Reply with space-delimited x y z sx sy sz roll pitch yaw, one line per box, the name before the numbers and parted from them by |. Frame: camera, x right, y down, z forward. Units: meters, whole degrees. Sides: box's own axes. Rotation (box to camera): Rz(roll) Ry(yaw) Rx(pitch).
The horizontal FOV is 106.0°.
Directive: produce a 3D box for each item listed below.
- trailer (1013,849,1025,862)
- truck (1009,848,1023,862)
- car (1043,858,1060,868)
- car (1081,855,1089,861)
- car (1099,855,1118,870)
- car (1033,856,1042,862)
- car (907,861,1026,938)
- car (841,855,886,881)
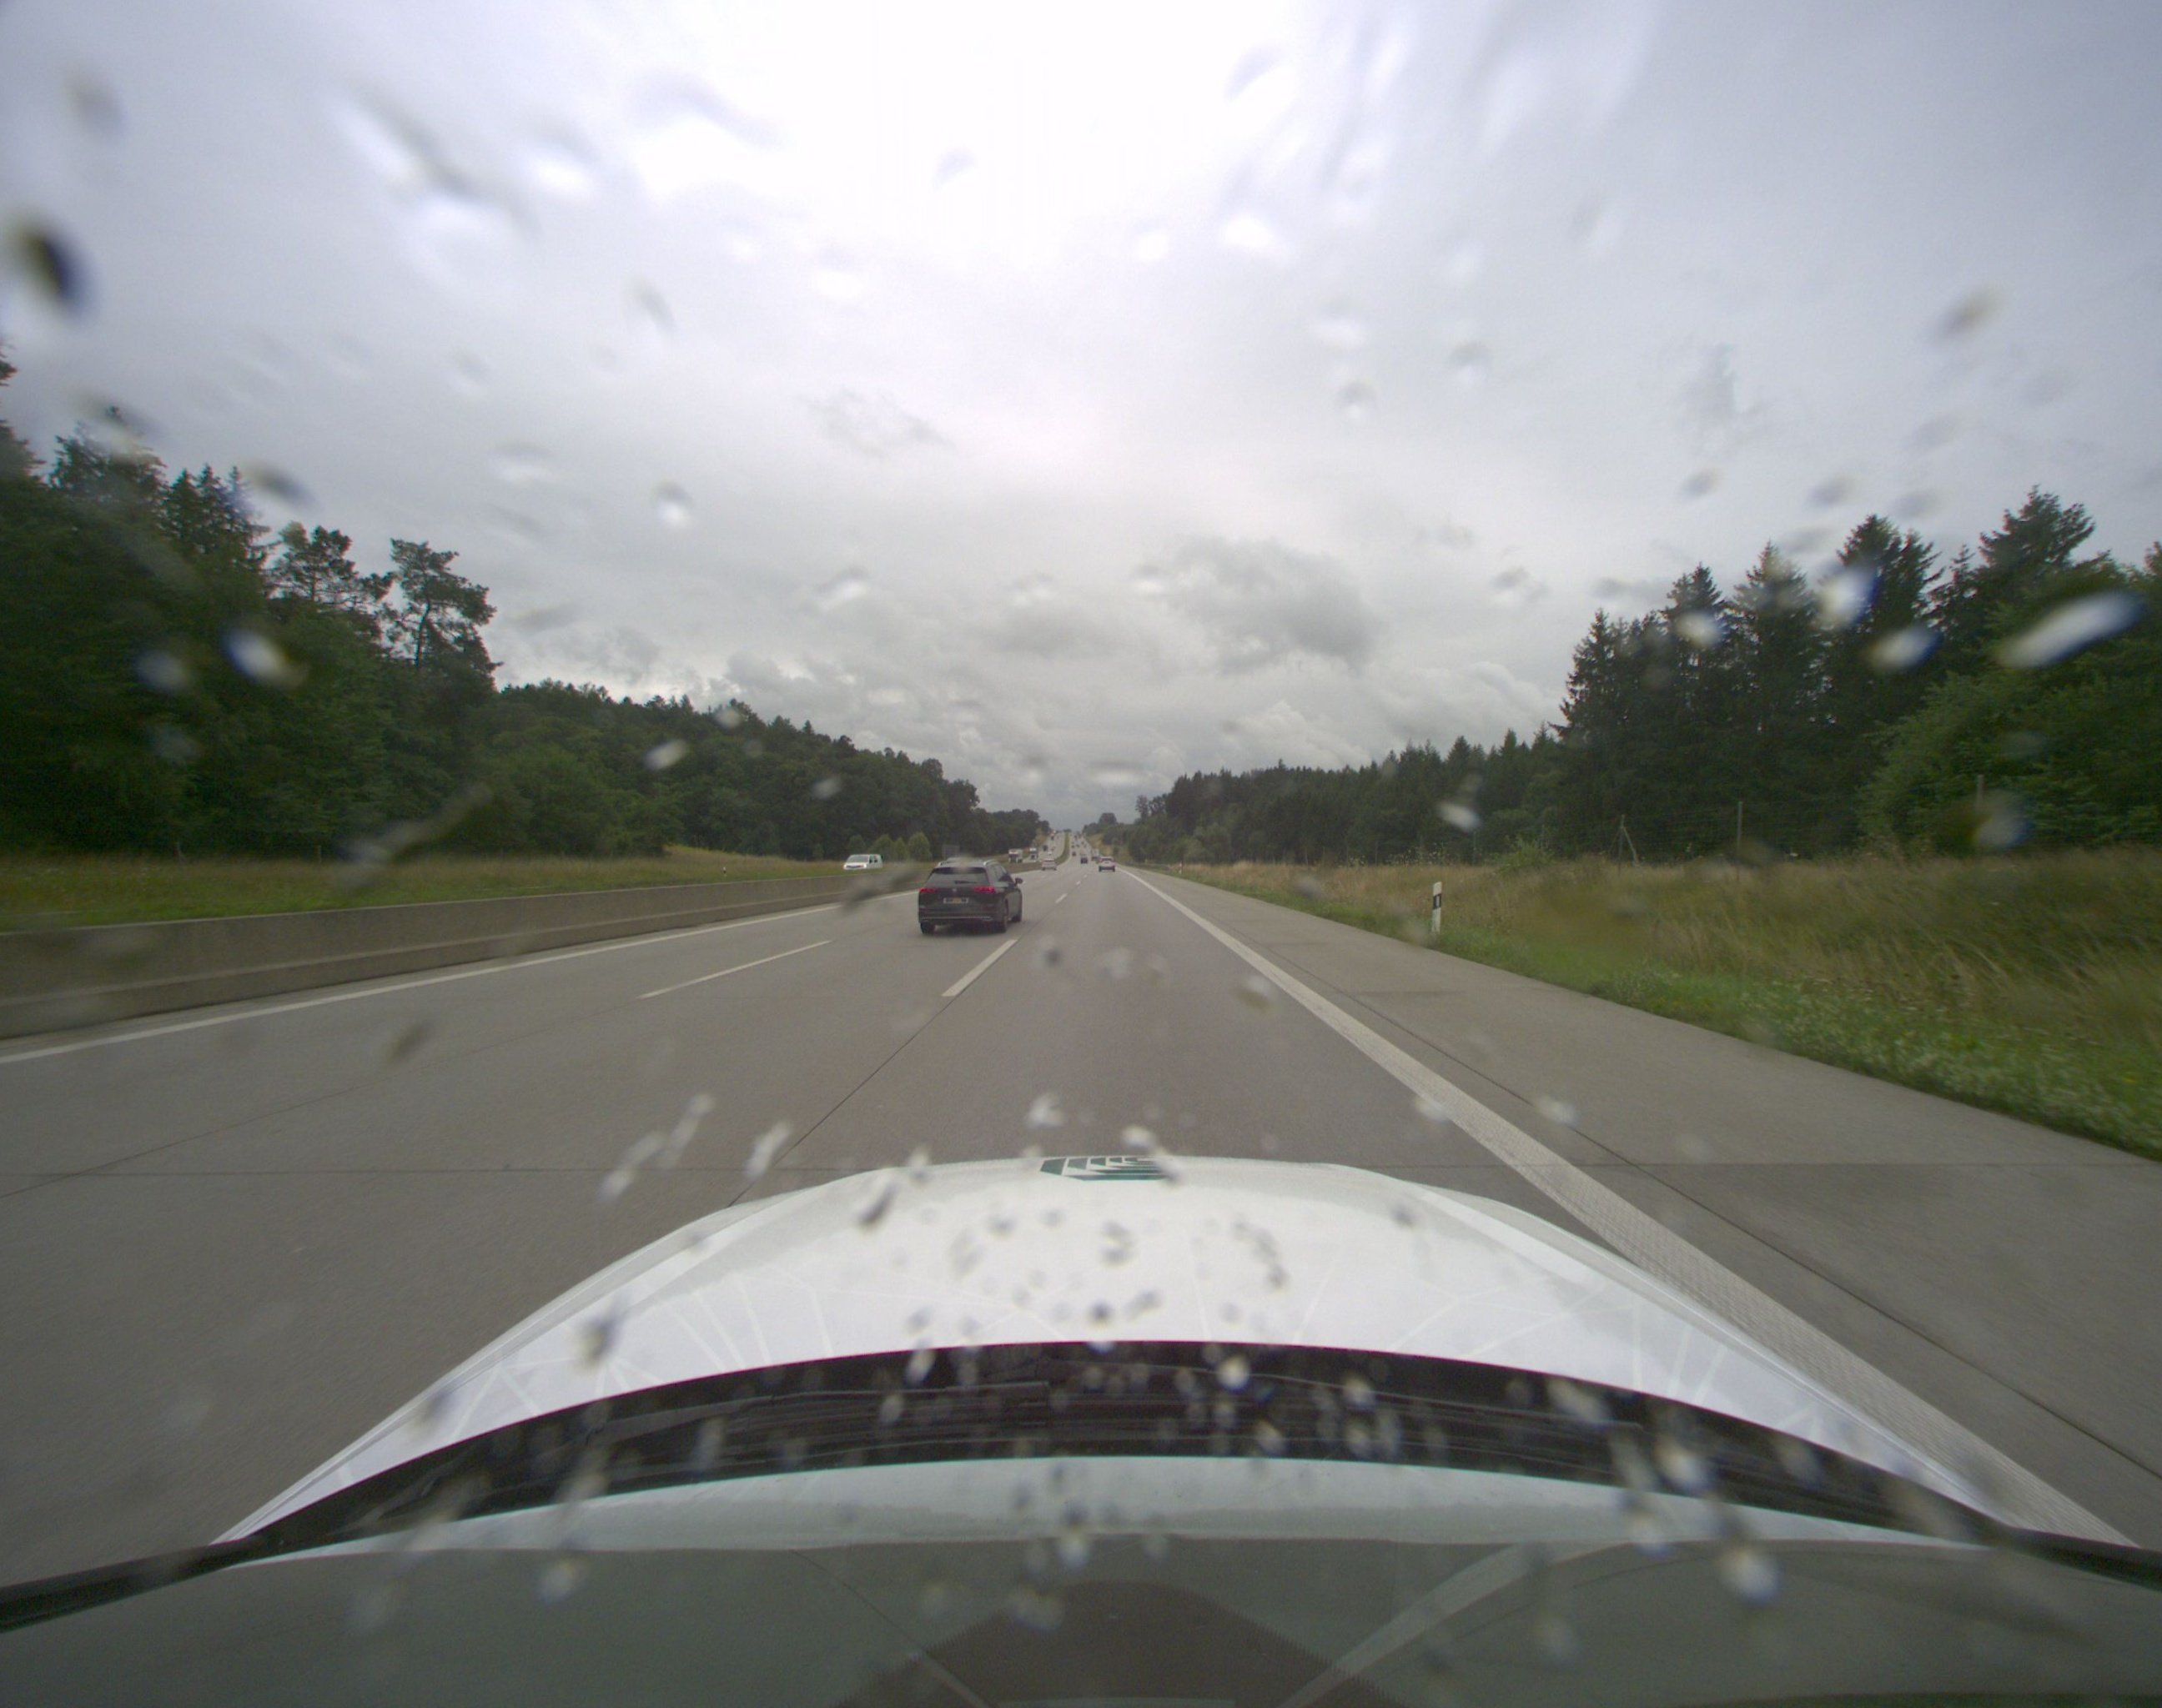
trailer | -18.086 0.349 239.415 2.809 3.783 7.717 0 0 1
truck | -18.215 0.313 229.848 2.803 3.773 11.351 0 0 1
car | -3.948 1.214 108.858 1.939 1.356 4.262 0 0 3
car | 0.971 1.036 211.046 1.929 1.375 4.594 0 1 0
car | 3.016 0.968 91.122 1.821 1.655 3.981 1 0 -2
car | -10.803 1.237 202.684 1.879 1.587 3.999 -4 0 0
car | -2.318 0.887 17.669 1.745 1.398 4.487 0 0 3
car | -17.196 1.058 64.637 1.987 1.956 5.625 -1 0 0
